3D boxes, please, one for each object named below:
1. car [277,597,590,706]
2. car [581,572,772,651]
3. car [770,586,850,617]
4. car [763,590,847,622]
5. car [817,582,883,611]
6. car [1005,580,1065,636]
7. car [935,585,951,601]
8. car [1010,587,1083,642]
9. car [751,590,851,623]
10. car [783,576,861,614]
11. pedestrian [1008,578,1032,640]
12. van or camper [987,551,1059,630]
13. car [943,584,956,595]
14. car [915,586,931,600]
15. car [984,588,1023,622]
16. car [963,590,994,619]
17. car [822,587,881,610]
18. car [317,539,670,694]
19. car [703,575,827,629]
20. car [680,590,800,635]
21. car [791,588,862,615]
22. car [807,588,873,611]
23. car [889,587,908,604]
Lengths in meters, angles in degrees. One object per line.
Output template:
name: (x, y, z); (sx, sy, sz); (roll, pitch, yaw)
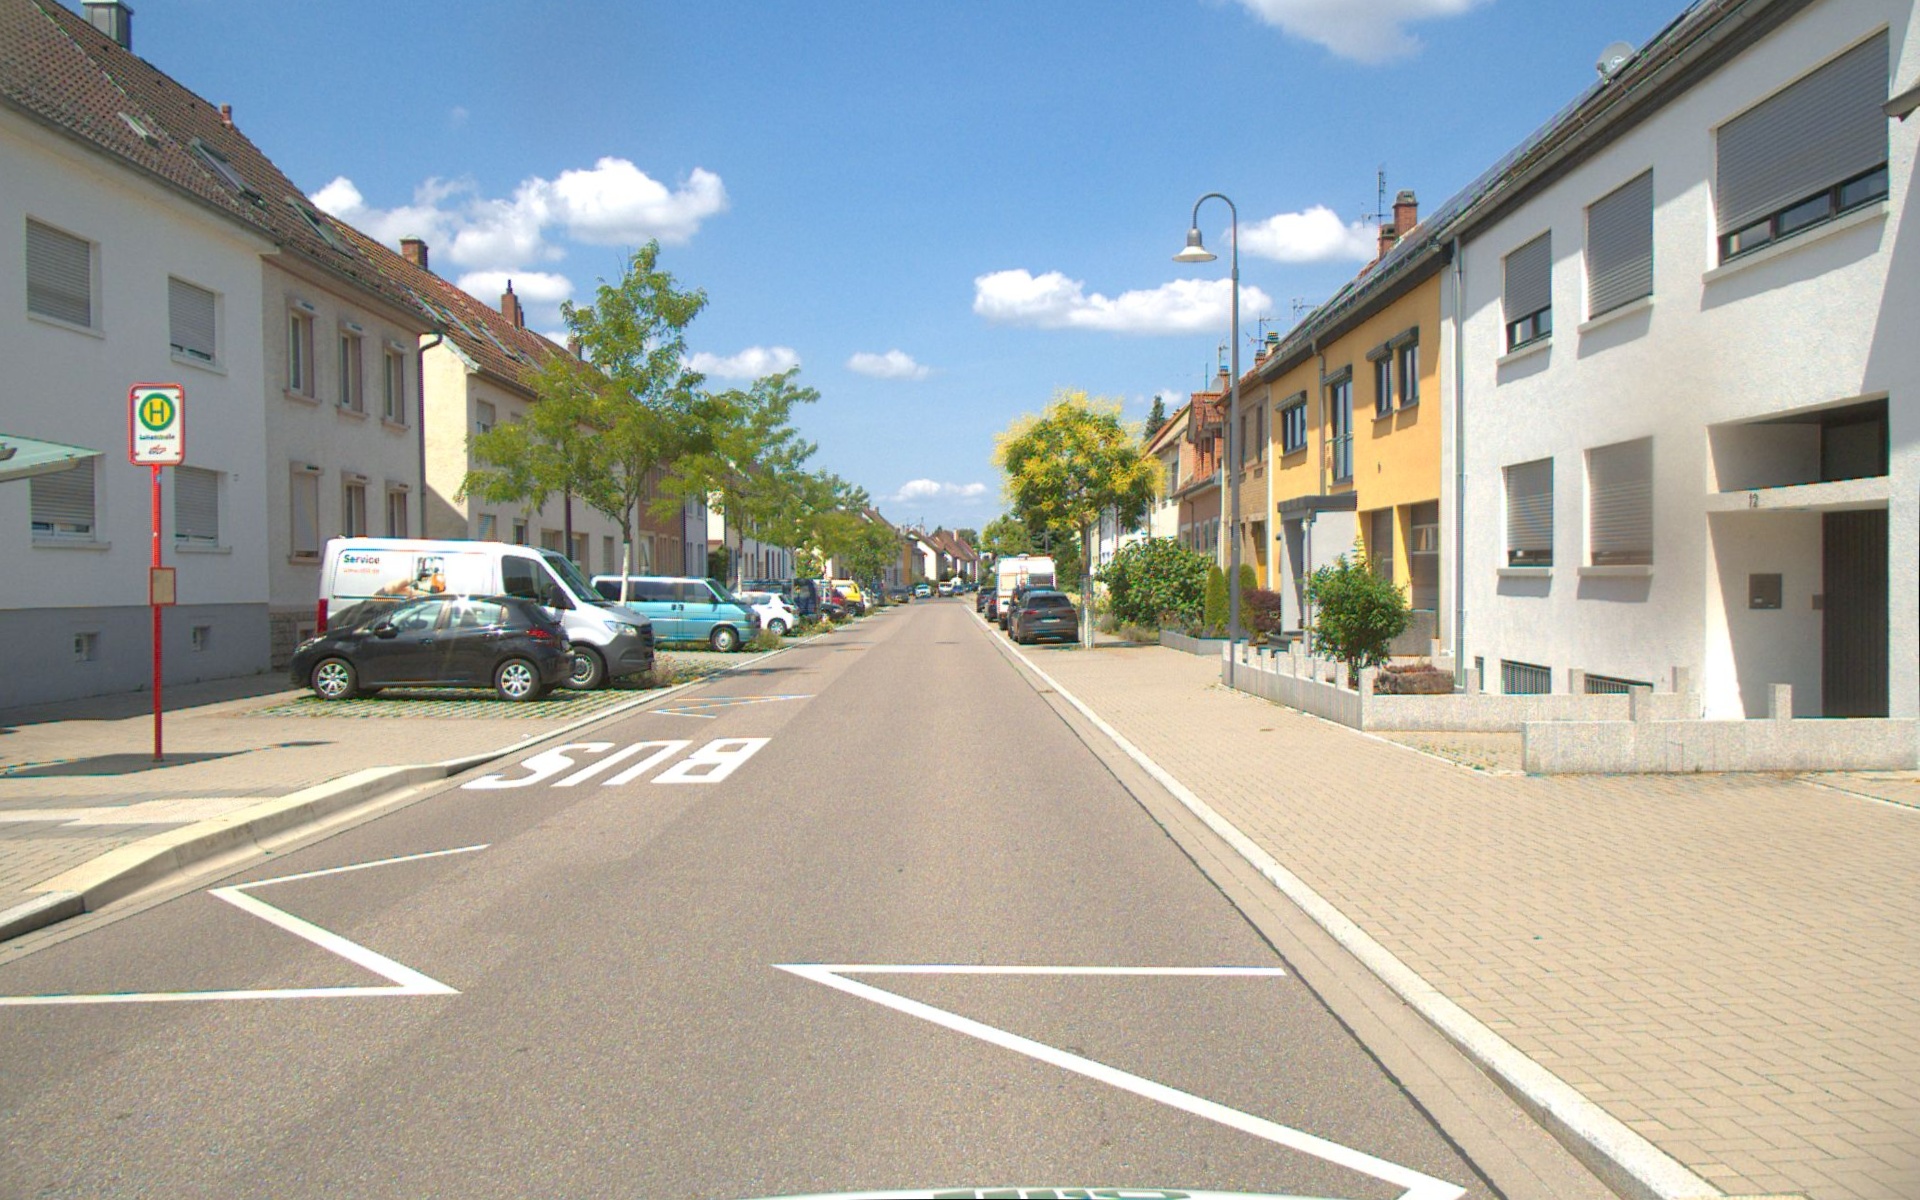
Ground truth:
car: (-7.442, 0.703, 23.691); (3.907, 1.471, 1.900); (0, 0, -3)
car: (-7.314, 0.306, 42.983); (4.581, 1.940, 2.000); (1, 0, 0)
car: (-8.114, 0.081, 89.601); (4.167, 1.639, 1.842); (0, 0, -1)
car: (-7.495, 0.280, 80.333); (3.973, 1.503, 1.775); (0, 0, -3)
car: (-7.942, -0.243, 119.664); (4.604, 1.957, 1.937); (1, 0, -1)
car: (2.387, 0.242, 53.612); (1.730, 1.734, 4.325); (0, 0, 0)
car: (-2.216, -0.872, 216.585); (1.982, 1.984, 4.897); (-1, 0, -1)
car: (2.457, 0.389, 47.887); (1.731, 1.514, 4.295); (0, 0, -2)
car: (-7.328, 0.291, 76.501); (4.432, 1.450, 1.795); (0, 0, -1)
car: (-8.106, -0.307, 97.605); (4.416, 2.215, 1.925); (0, 0, -1)
pedestrian: (1.847, 0.277, 50.814); (0.702, 1.885, 0.578); (0, 0, 0)
van or camper: (2.390, -0.389, 63.954); (2.423, 2.859, 5.790); (-2, 1, -1)
car: (-1.574, -1.501, 246.418); (1.727, 1.549, 4.048); (-2, 0, -1)
car: (-4.792, -0.892, 213.696); (1.811, 1.688, 4.001); (1, 0, 2)
car: (2.067, 0.217, 78.975); (1.730, 1.556, 4.007); (0, 0, 0)
car: (1.205, 0.297, 106.046); (1.825, 1.664, 4.448); (-3, 1, 2)
car: (-7.675, -0.094, 116.941); (4.100, 1.596, 1.772); (1, 0, -4)
car: (-7.391, 0.259, 26.644); (5.063, 2.328, 2.156); (1, 0, -3)
car: (-7.528, 0.061, 64.052); (4.517, 2.031, 1.953); (0, 0, 1)
car: (-7.541, 0.415, 56.919); (3.835, 1.514, 1.773); (0, 0, 1)
car: (-7.653, 0.078, 95.065); (3.928, 1.485, 1.755); (0, 0, -1)
car: (-7.974, -0.006, 110.059); (4.206, 1.493, 1.774); (0, 0, 1)
car: (-6.117, -0.435, 164.690); (1.780, 1.458, 4.138); (3, 2, -3)
